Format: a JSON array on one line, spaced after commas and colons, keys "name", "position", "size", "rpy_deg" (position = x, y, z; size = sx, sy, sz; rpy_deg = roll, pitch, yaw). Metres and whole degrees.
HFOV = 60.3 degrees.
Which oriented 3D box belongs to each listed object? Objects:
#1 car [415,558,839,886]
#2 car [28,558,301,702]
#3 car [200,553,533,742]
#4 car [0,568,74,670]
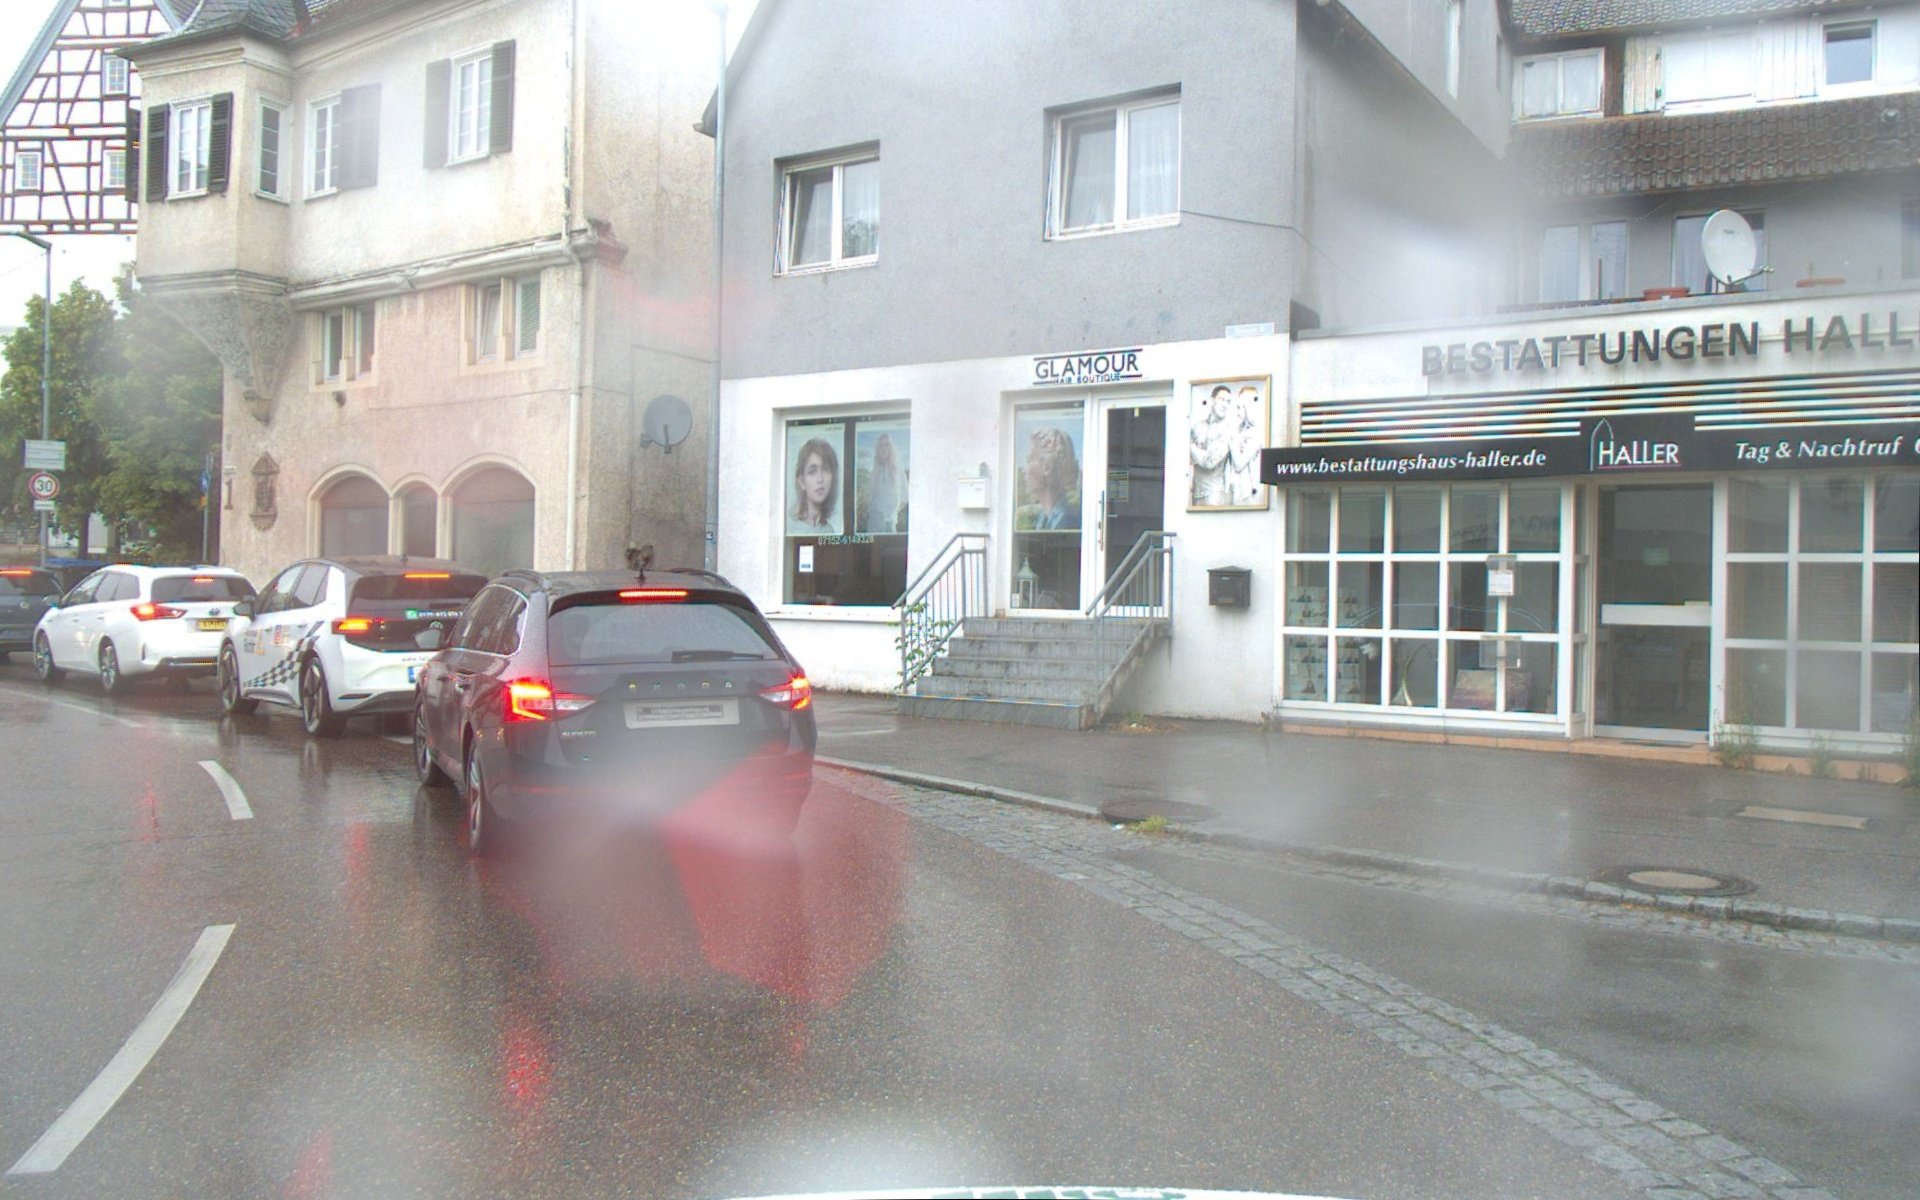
[{"name": "car", "position": [-2.205, 0.510, 9.937], "size": [1.709, 1.475, 4.212], "rpy_deg": [0, 2, -23]}, {"name": "car", "position": [-9.737, 0.276, 20.103], "size": [1.778, 1.490, 4.096], "rpy_deg": [-2, 3, -45]}, {"name": "car", "position": [-5.771, 0.346, 15.782], "size": [1.777, 1.543, 4.183], "rpy_deg": [-1, 2, -38]}, {"name": "car", "position": [-14.882, 0.243, 24.963], "size": [3.701, 1.385, 1.514], "rpy_deg": [2, 3, 42]}]
